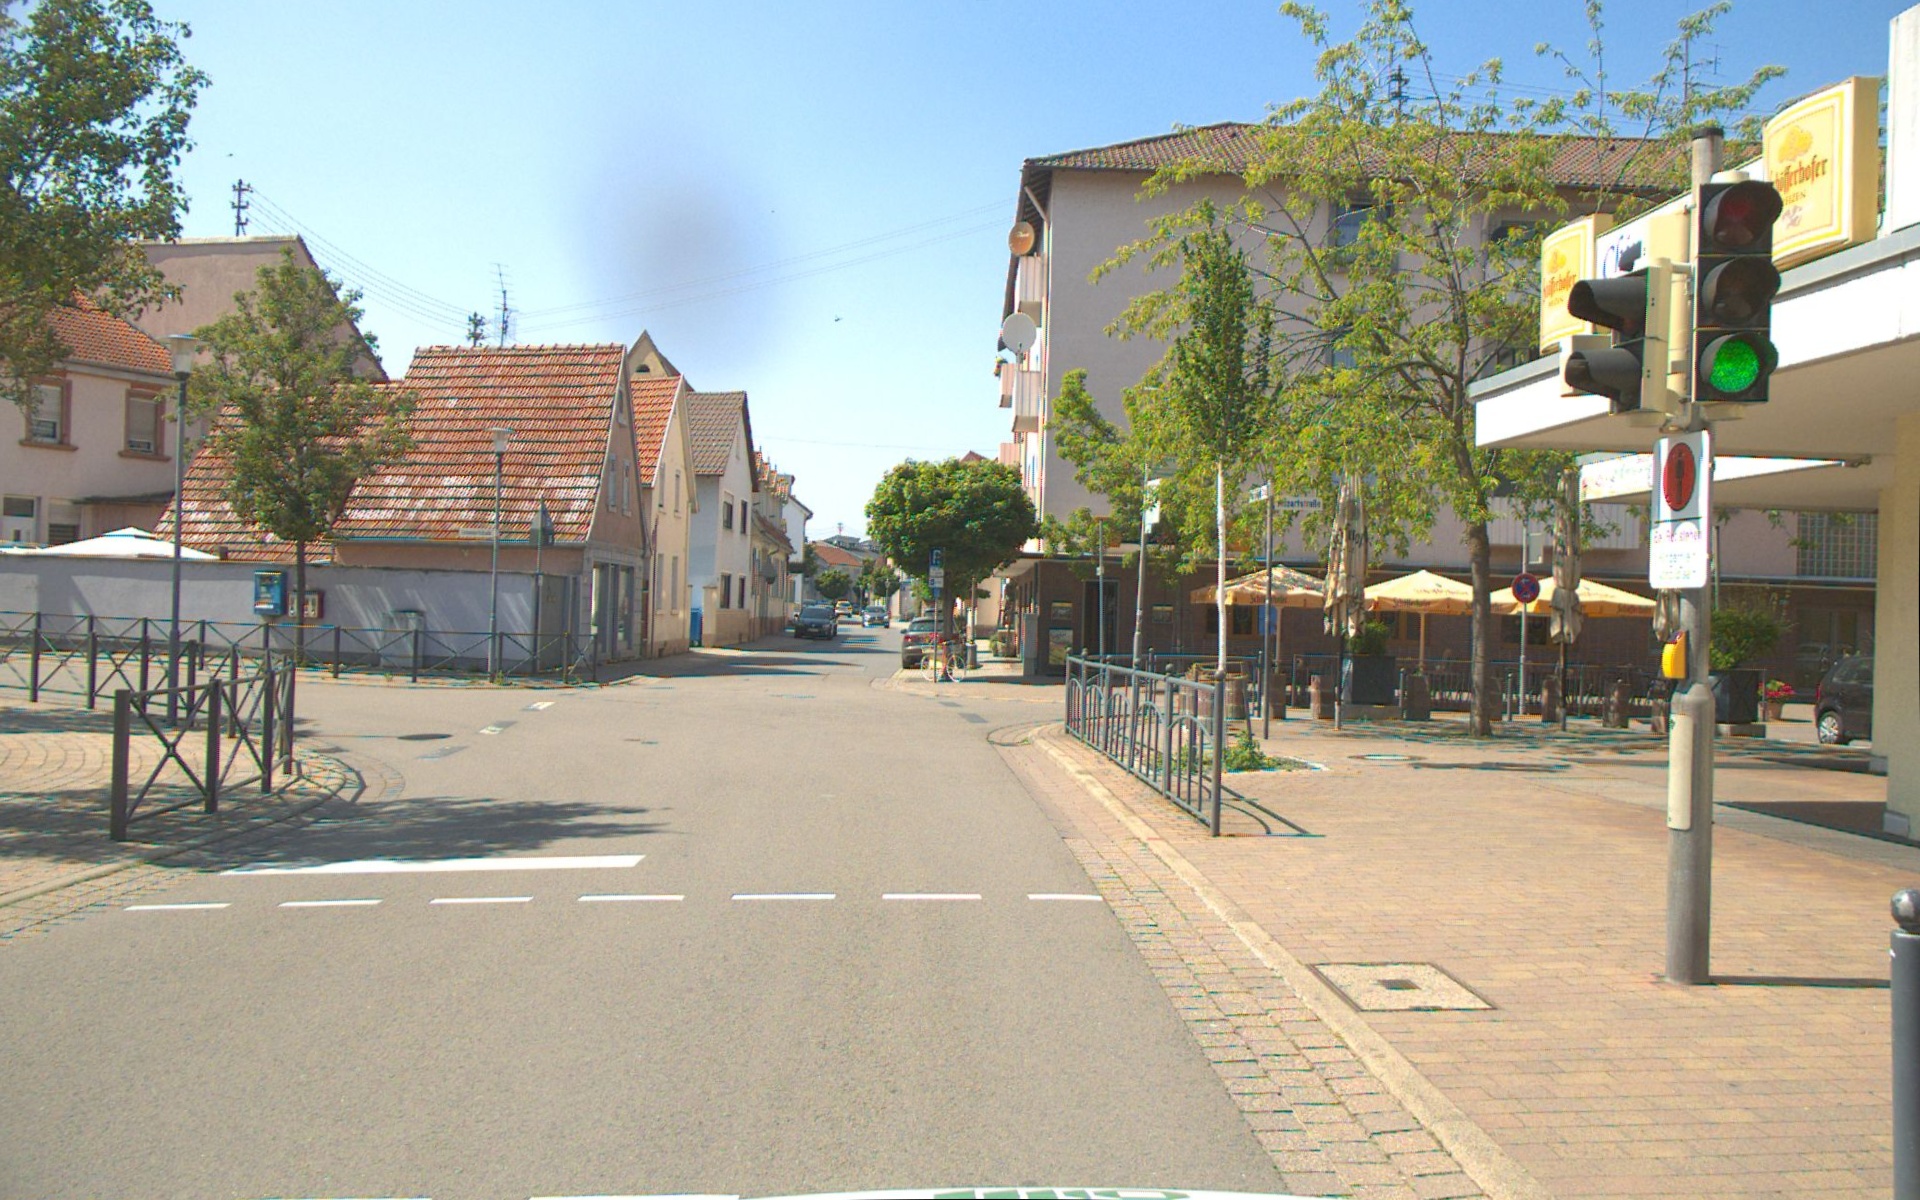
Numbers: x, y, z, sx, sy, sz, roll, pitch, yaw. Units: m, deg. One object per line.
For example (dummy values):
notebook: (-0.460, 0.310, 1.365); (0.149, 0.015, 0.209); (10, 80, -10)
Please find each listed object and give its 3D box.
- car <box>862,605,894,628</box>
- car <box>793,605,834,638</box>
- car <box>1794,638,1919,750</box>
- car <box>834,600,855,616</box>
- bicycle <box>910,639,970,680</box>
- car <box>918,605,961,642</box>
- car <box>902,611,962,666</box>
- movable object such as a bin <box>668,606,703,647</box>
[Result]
car: (-5.628, 1.150, 113.391); (1.873, 1.507, 4.836); (1, -1, -7)
car: (-6.870, 0.984, 77.986); (1.629, 1.502, 4.133); (1, 0, -1)
car: (14.045, 1.355, 23.812); (1.733, 1.536, 3.965); (2, -1, -7)
car: (-12.165, 0.875, 174.006); (1.986, 1.626, 4.507); (1, 0, -2)
bicycle: (-0.471, 1.386, 38.455); (1.386, 0.913, 0.463); (0, 0, 36)
car: (-1.006, 1.144, 80.942); (2.001, 1.718, 4.840); (1, 0, -1)
car: (-0.764, 1.078, 47.078); (1.543, 1.479, 3.486); (1, -1, 1)
movable object such as a bin: (-9.388, 0.912, 56.528); (1.078, 1.389, 0.390); (1, -1, 3)
